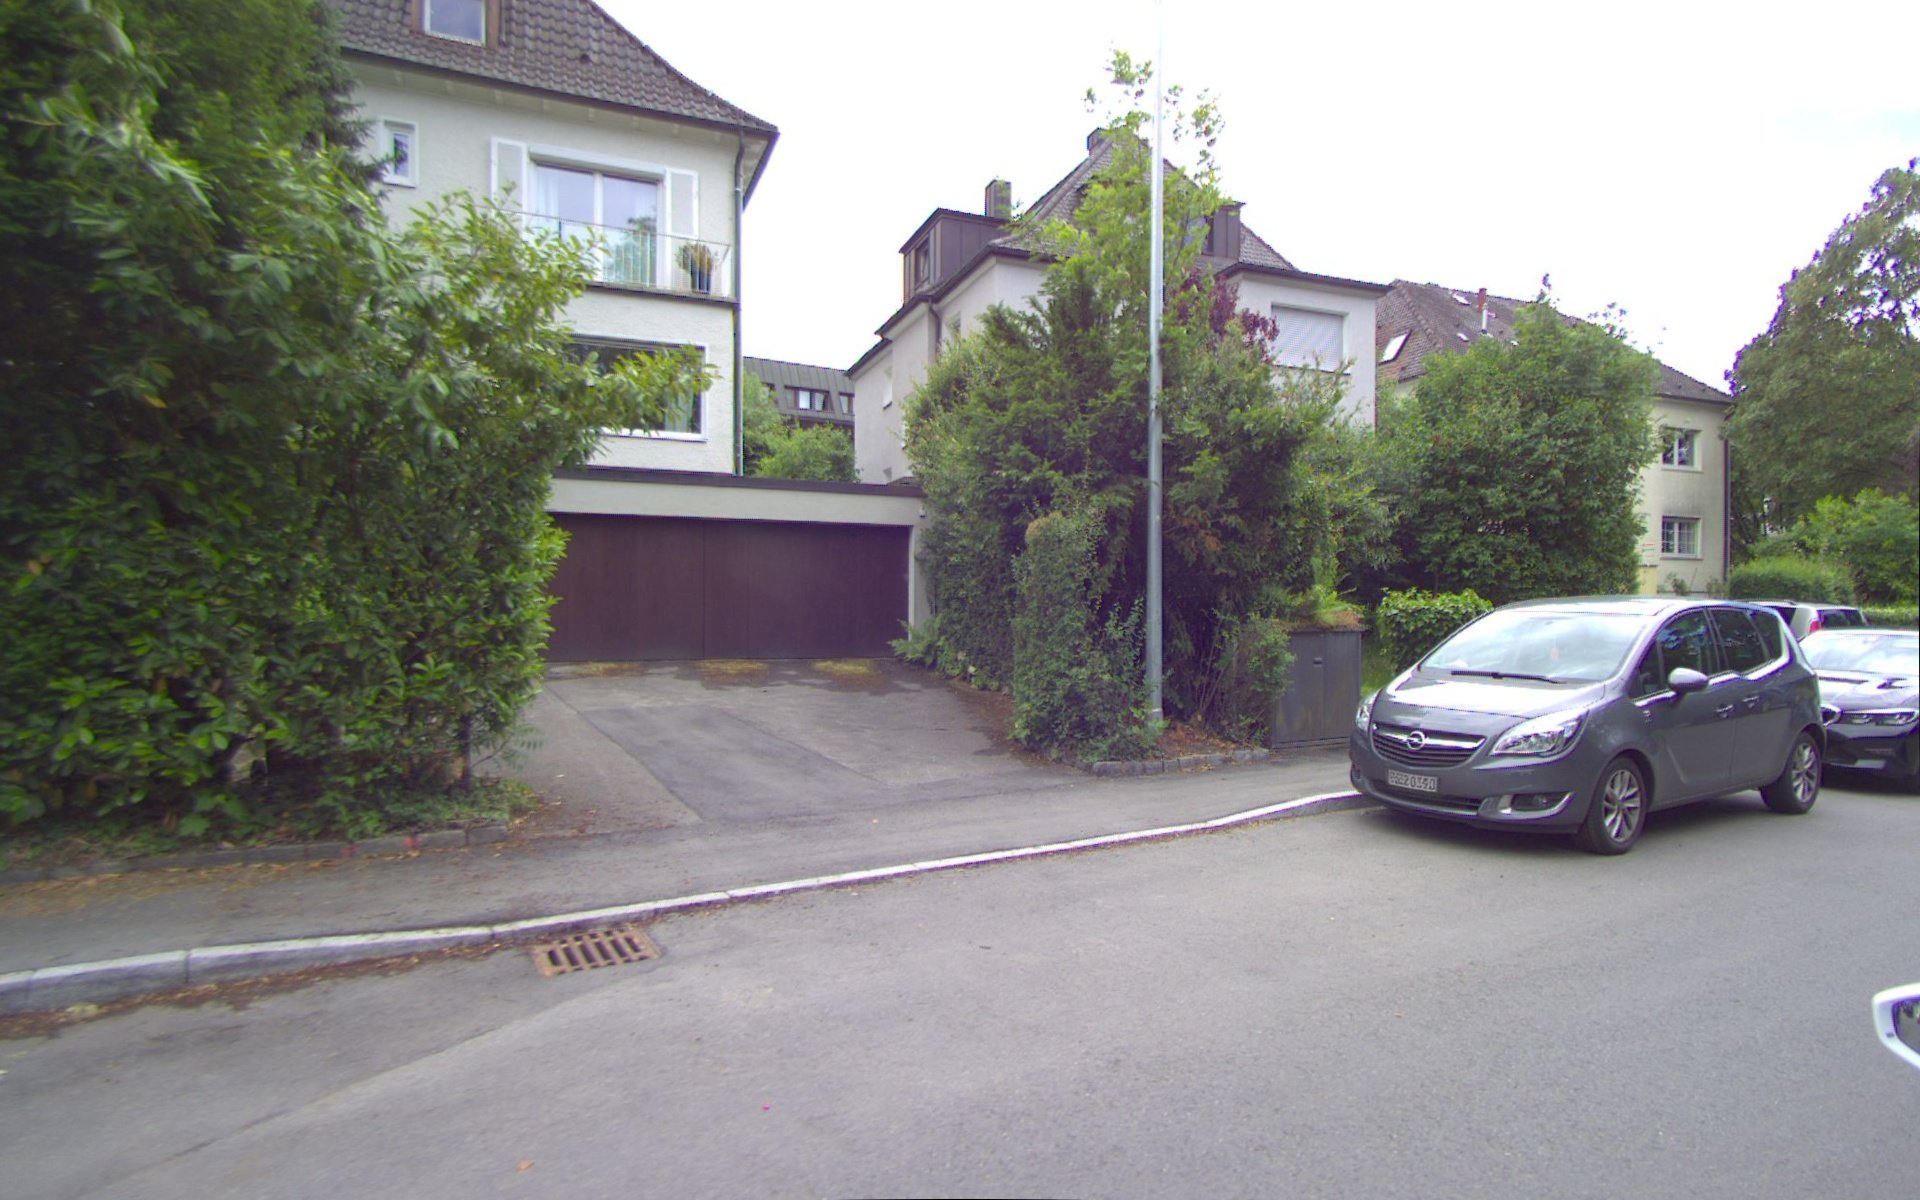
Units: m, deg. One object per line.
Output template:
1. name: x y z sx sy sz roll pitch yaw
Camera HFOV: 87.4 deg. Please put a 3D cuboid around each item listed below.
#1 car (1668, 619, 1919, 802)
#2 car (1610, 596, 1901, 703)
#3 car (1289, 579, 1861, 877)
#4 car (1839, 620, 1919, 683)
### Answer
1. car: 9.407 0.955 10.079 4.836 1.431 1.747 1 1 -28
2. car: 13.942 0.797 17.885 1.798 1.659 3.691 1 1 -16
3. car: 4.696 0.730 7.476 4.516 1.654 1.722 1 1 -31
4. car: 23.123 1.218 23.257 1.755 1.403 3.809 0 0 -26
